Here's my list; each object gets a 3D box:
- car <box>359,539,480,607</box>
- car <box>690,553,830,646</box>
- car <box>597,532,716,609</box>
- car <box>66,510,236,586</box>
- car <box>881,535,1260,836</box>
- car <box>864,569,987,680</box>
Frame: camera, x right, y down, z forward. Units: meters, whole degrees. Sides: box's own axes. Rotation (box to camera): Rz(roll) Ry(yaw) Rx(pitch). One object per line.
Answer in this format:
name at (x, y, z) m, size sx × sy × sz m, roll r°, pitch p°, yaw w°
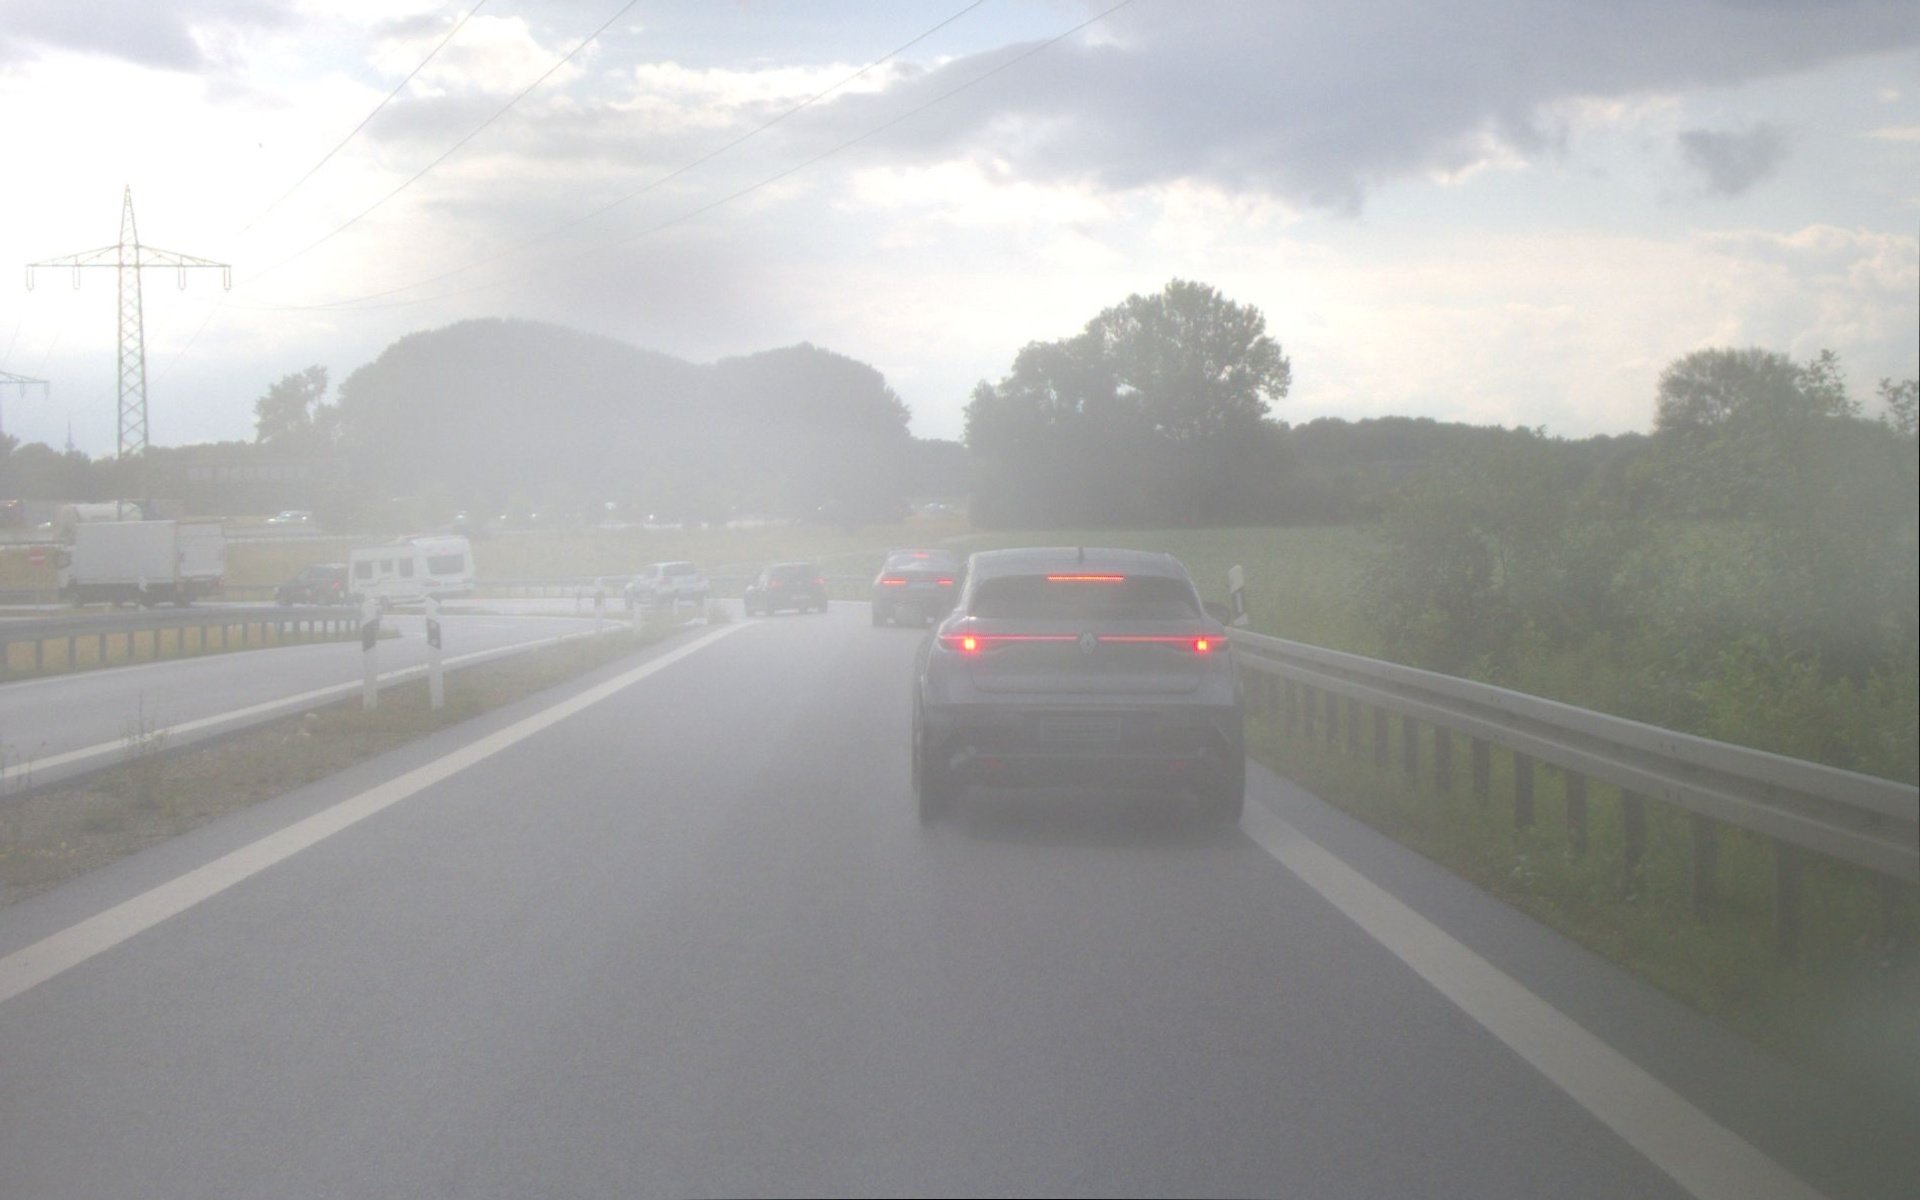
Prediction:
car at (-20.230, -1.028, 128.567) m, size 2.352 × 2.299 × 5.128 m, roll -3°, pitch 4°, yaw -36°
car at (-5.672, -0.056, 96.882) m, size 2.351 × 2.299 × 5.130 m, roll -2°, pitch 4°, yaw -22°
car at (-10.112, -1.019, 114.196) m, size 2.351 × 2.299 × 5.130 m, roll -2°, pitch 4°, yaw -25°
car at (-33.950, -2.222, 144.121) m, size 7.202 × 2.941 × 3.139 m, roll 2°, pitch 4°, yaw 39°
car at (0.635, 0.414, 20.330) m, size 1.993 × 1.561 × 4.149 m, roll 1°, pitch 1°, yaw 1°
car at (-0.742, 0.452, 68.702) m, size 2.121 × 2.011 × 5.535 m, roll -1°, pitch 1°, yaw -4°
